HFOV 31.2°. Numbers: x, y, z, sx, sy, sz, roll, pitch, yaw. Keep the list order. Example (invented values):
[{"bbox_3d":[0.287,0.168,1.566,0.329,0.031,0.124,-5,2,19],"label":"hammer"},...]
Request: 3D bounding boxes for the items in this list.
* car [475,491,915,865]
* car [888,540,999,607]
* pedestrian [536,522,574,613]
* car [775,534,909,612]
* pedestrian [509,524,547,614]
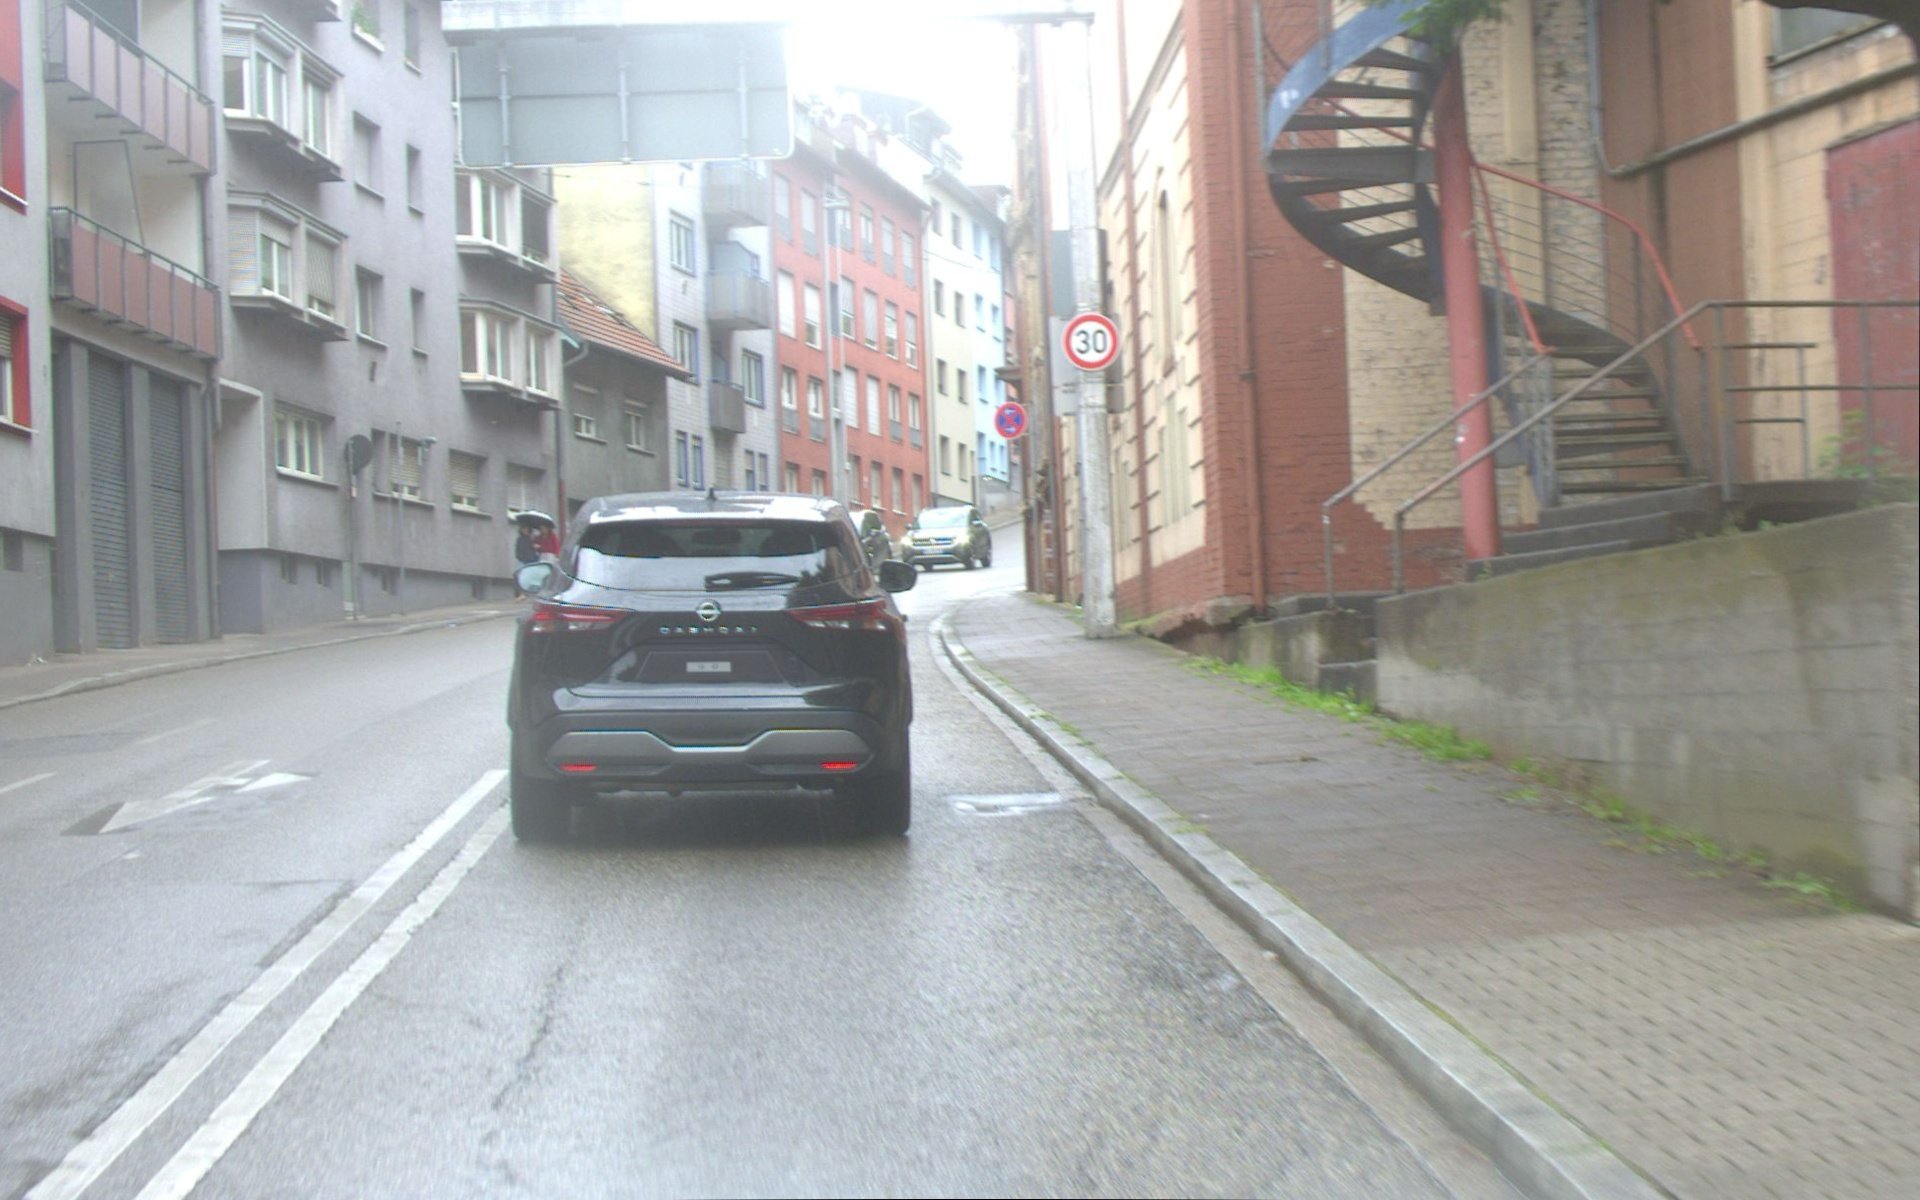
[{"bbox_3d":[-1.315,0.271,16.791,1.881,1.588,3.922,-1,2,-5],"label":"car"},{"bbox_3d":[-0.370,-0.648,84.737,1.795,1.505,3.998,-3,0,13],"label":"car"},{"bbox_3d":[-8.139,-0.663,69.105,0.523,1.769,0.622,-4,2,4],"label":"pedestrian"},{"bbox_3d":[-2.470,-0.567,72.795,1.795,1.505,3.998,-3,0,13],"label":"car"},{"bbox_3d":[-8.694,-0.630,69.138,0.523,1.769,0.622,-4,2,4],"label":"pedestrian"}]
